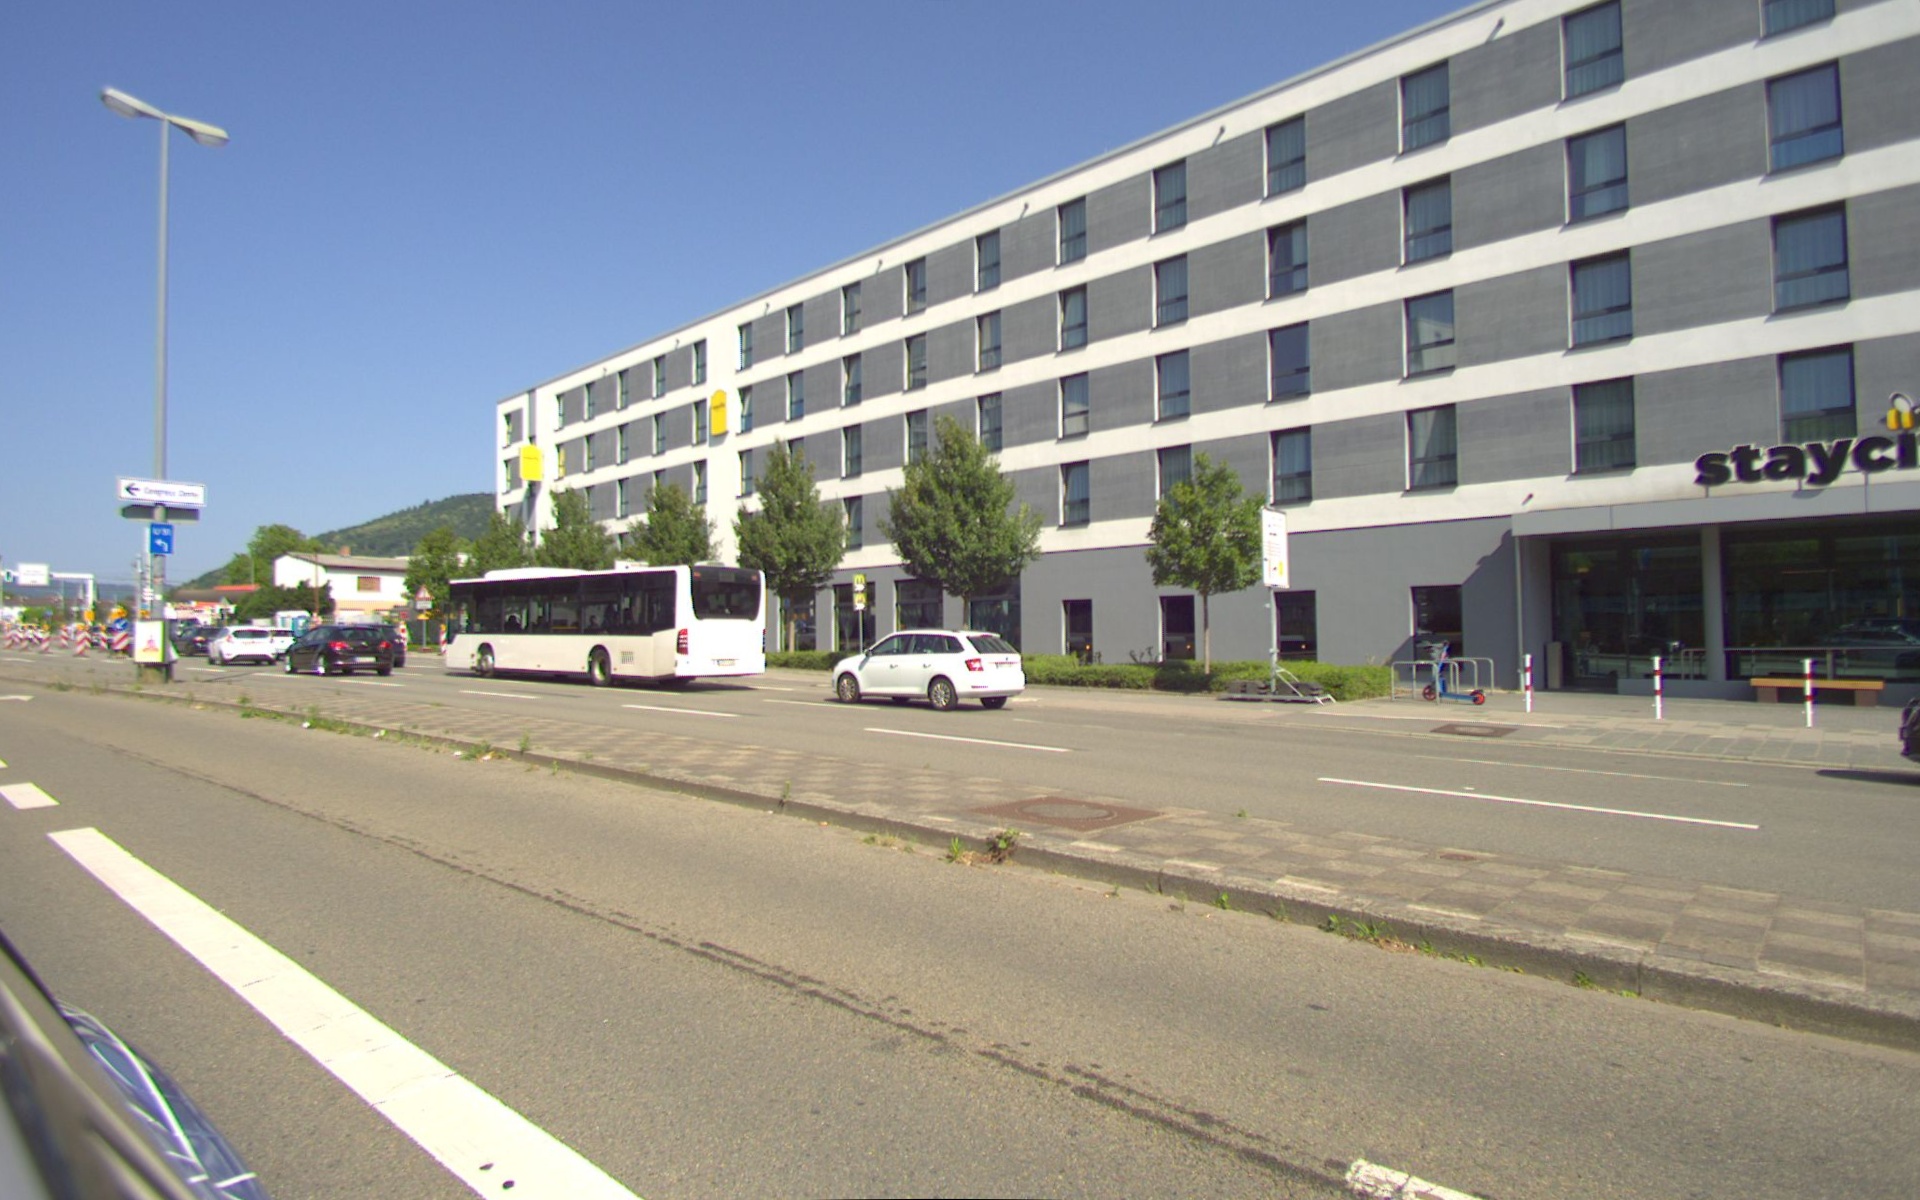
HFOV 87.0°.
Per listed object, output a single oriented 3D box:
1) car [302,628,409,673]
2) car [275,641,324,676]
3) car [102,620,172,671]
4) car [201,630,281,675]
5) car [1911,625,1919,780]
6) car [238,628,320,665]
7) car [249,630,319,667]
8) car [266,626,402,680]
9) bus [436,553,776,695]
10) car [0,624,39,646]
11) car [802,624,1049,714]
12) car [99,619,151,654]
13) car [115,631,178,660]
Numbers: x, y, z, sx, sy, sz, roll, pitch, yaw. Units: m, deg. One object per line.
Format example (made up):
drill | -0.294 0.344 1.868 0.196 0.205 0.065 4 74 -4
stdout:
car | -22.244 1.790 37.168 4.888 1.534 1.973 -1 -2 41
car | -25.442 2.238 38.975 2.219 1.216 1.044 0 0 42
car | -35.576 1.898 43.696 4.162 2.029 1.658 0 0 41
car | -26.594 1.888 37.366 4.002 1.462 1.739 0 0 45
car | 11.565 1.038 9.006 4.411 1.590 1.972 -1 -4 42
car | -29.288 1.969 43.503 3.973 1.550 1.835 -2 -2 39
car | -31.576 2.211 47.274 3.587 1.631 1.697 -1 -1 38
car | -18.382 1.485 29.631 4.887 1.443 1.973 -1 -2 40
bus | -9.898 0.677 27.002 11.964 3.102 2.710 -1 -4 40
car | -74.426 2.779 79.859 4.888 1.725 1.973 -2 -3 41
car | -0.717 1.269 19.329 4.403 1.497 1.976 0 -4 36
car | -52.294 2.230 63.360 4.000 2.029 1.972 0 0 43
car | -46.494 2.556 57.814 4.888 1.534 1.973 -1 -2 41
